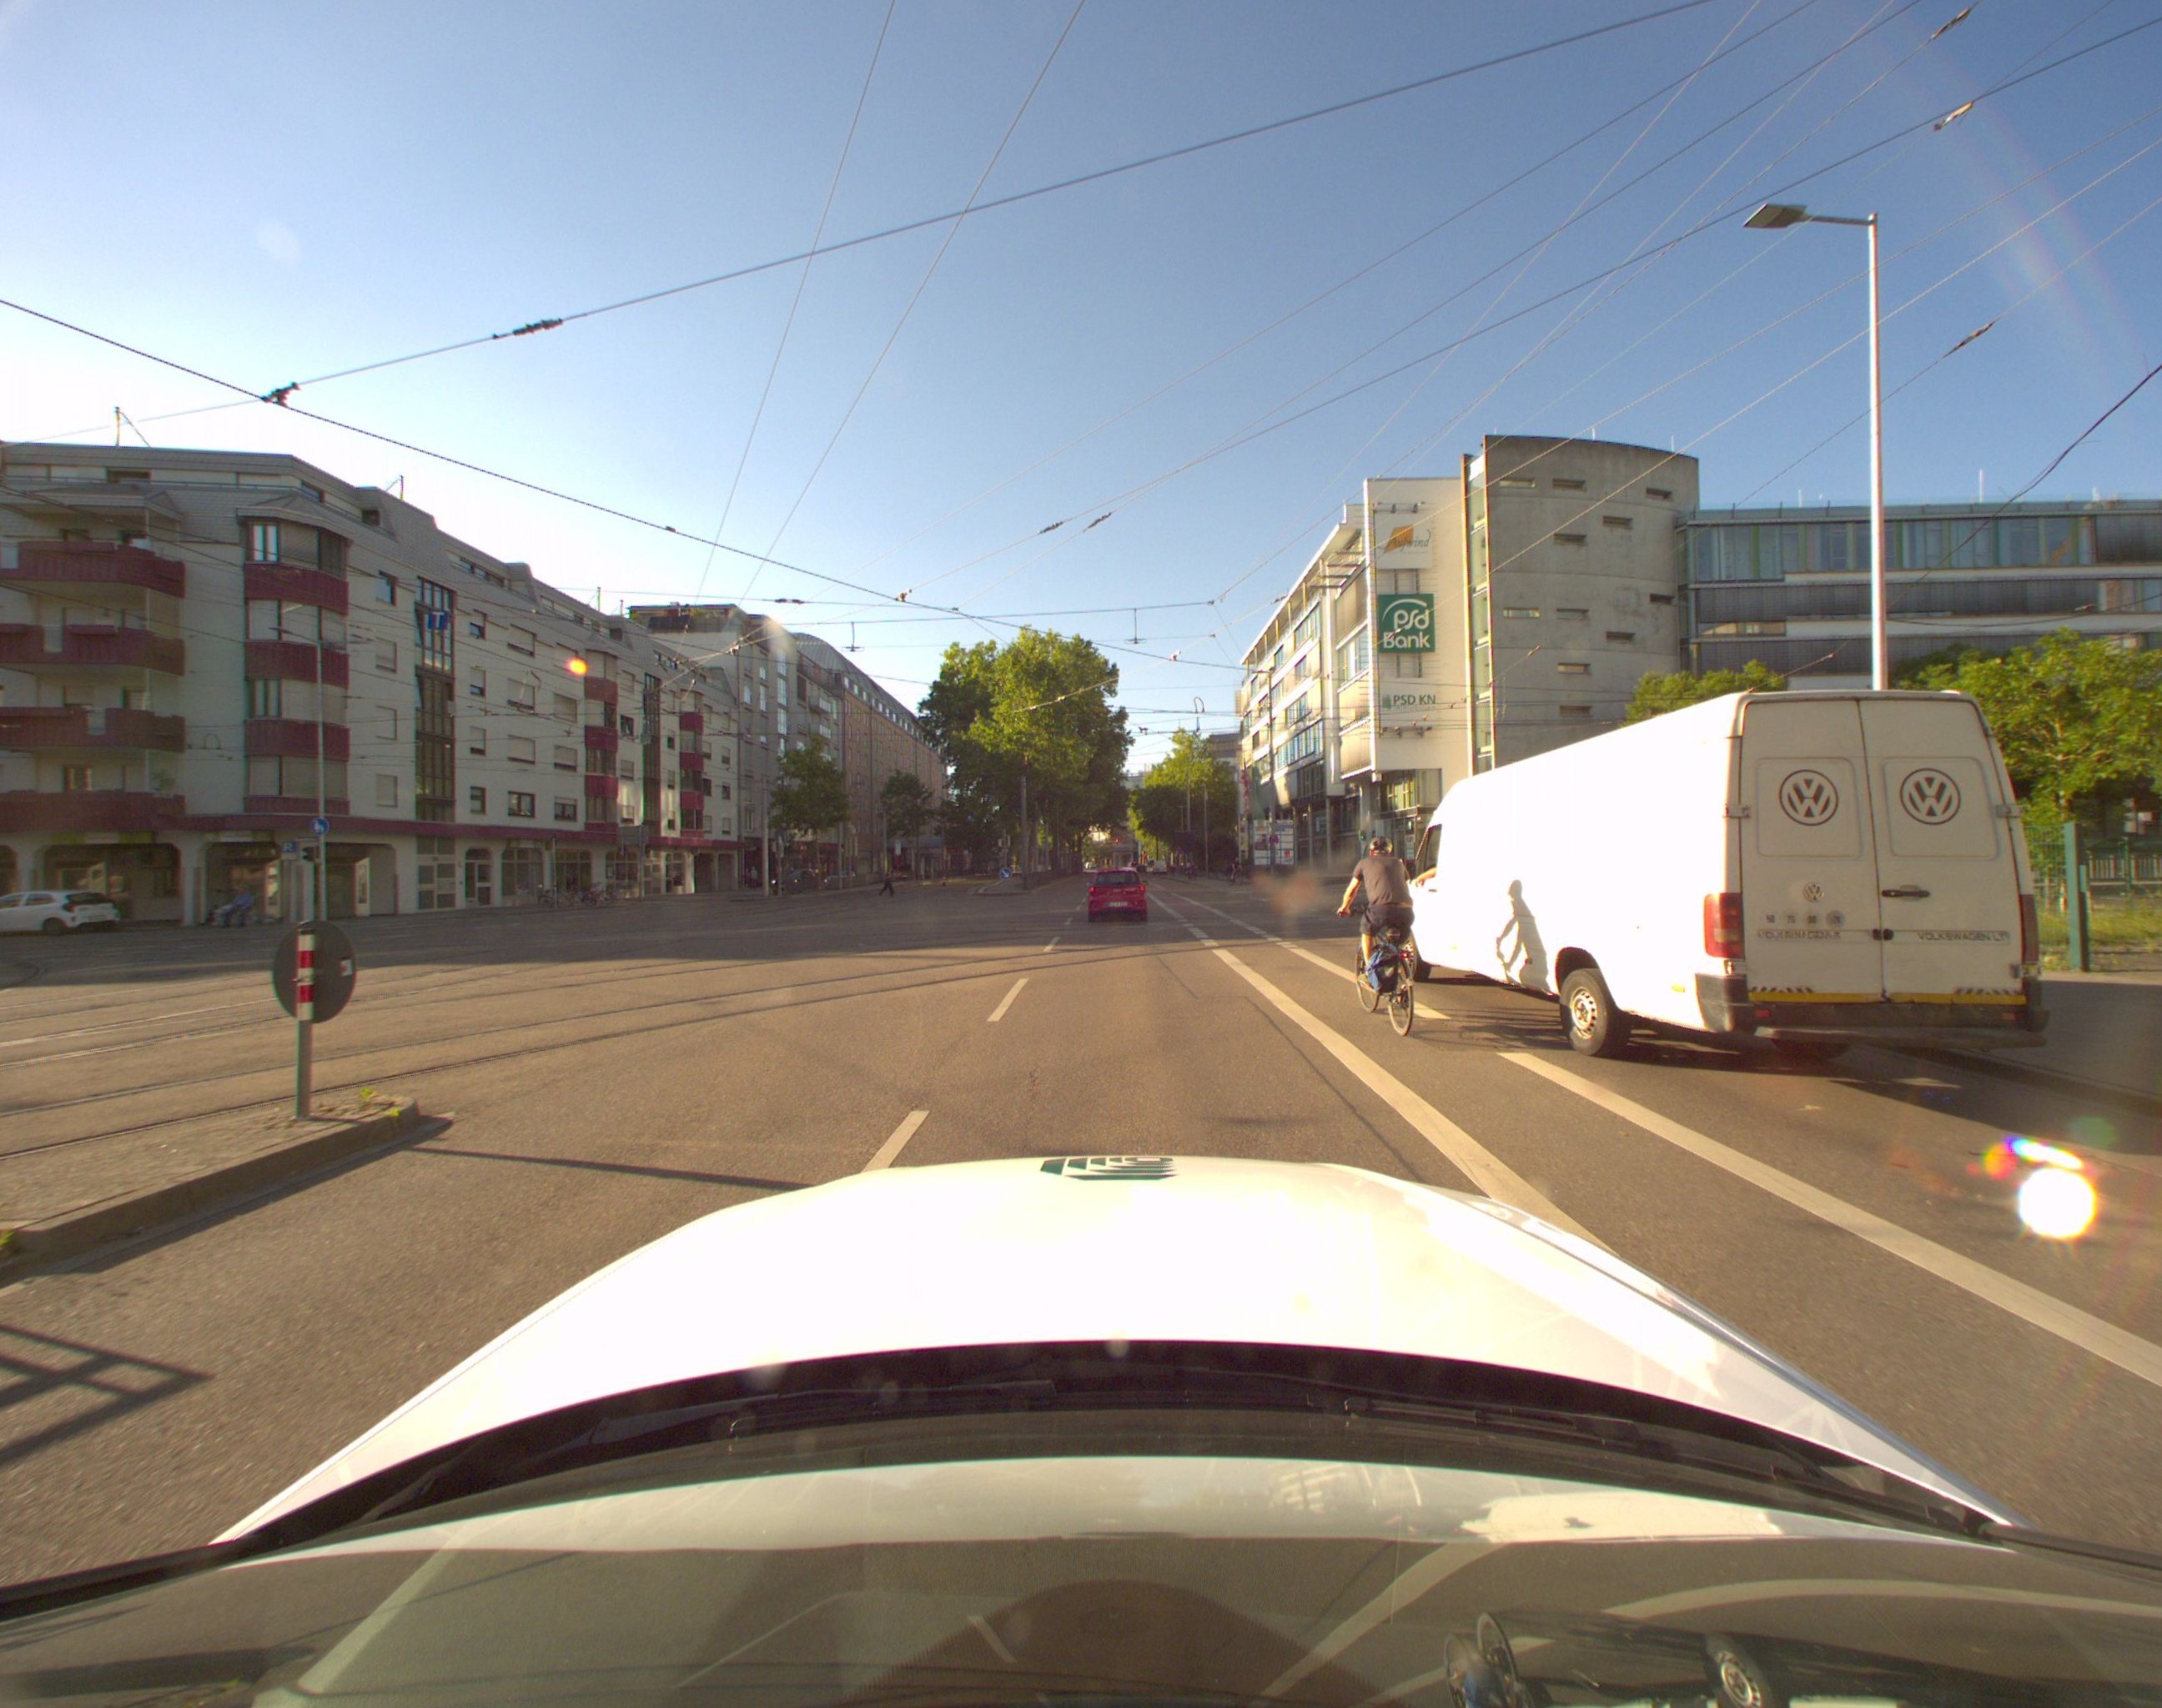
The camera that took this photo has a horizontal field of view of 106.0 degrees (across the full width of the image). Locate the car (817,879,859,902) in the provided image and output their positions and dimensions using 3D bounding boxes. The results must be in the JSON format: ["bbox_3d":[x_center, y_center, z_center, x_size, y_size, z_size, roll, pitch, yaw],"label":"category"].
[{"bbox_3d":[-19.289,2.880,64.787,1.948,1.595,4.261,-1,-1,1],"label":"car"}]

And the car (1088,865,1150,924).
[{"bbox_3d":[1.051,1.098,23.124,1.607,1.535,3.413,0,-1,2],"label":"car"}]

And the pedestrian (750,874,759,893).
[{"bbox_3d":[-26.234,2.390,65.427,0.533,1.494,0.587,-1,-1,-2],"label":"pedestrian"}]

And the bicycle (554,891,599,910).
[{"bbox_3d":[-24.294,2.217,39.222,1.835,0.854,0.554,-1,-1,3],"label":"bicycle"}]

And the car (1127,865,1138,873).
[{"bbox_3d":[10.264,2.876,161.018,1.773,1.535,3.508,0,-1,-3],"label":"car"}]

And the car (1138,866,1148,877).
[{"bbox_3d":[10.635,2.931,139.503,1.628,1.800,3.333,-1,-1,4],"label":"car"}]

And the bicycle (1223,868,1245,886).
[{"bbox_3d":[9.986,1.495,53.213,0.697,1.098,1.742,-5,0,-14],"label":"bicycle"}]

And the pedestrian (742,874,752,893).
[{"bbox_3d":[-26.801,2.386,65.321,0.533,1.494,0.587,-1,-1,-2],"label":"pedestrian"}]

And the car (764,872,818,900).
[{"bbox_3d":[-19.411,2.129,54.707,1.948,1.672,4.261,-1,-1,1],"label":"car"}]

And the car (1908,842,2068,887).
[{"bbox_3d":[35.312,0.414,31.789,3.973,1.612,2.000,-1,-1,0],"label":"car"}]

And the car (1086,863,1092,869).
[{"bbox_3d":[2.479,3.676,249.495,1.773,1.535,3.408,0,-1,-3],"label":"car"}]

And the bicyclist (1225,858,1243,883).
[{"bbox_3d":[9.986,1.063,53.134,0.723,1.603,1.083,-3,-1,-15],"label":"bicyclist"}]

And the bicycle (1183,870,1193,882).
[{"bbox_3d":[9.459,1.943,71.925,0.519,0.975,2.202,-5,0,2],"label":"bicycle"}]

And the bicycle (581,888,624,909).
[{"bbox_3d":[-24.147,2.241,41.101,1.837,0.985,0.553,-1,-1,-1],"label":"bicycle"}]

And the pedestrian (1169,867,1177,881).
[{"bbox_3d":[10.194,2.201,90.039,0.640,1.579,0.722,-5,-1,-4],"label":"pedestrian"}]

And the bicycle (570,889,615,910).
[{"bbox_3d":[-24.283,2.249,40.496,1.837,0.985,0.553,-1,-1,-1],"label":"bicycle"}]

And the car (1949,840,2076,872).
[{"bbox_3d":[48.853,0.117,42.762,4.373,1.495,1.987,-1,-1,0],"label":"car"}]

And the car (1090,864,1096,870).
[{"bbox_3d":[3.573,3.902,242.872,1.773,1.535,3.408,0,-1,-3],"label":"car"}]

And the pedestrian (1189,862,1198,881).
[{"bbox_3d":[9.947,1.541,72.025,0.644,1.680,0.652,-1,-1,2],"label":"pedestrian"}]

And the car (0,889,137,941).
[{"bbox_3d":[-34.757,2.011,27.120,3.983,1.556,1.995,-1,-1,-7],"label":"car"}]

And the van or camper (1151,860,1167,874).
[{"bbox_3d":[11.261,1.870,117.613,1.985,1.989,4.748,-1,-1,3],"label":"van or camper"}]

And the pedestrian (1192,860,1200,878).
[{"bbox_3d":[11.813,1.548,83.687,0.539,1.796,0.906,-4,-1,0],"label":"pedestrian"}]

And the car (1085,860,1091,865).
[{"bbox_3d":[2.238,2.636,255.533,1.773,1.588,3.408,0,-1,-3],"label":"car"}]

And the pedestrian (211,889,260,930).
[{"bbox_3d":[-29.995,1.973,28.896,0.856,1.384,0.834,-1,-1,-9],"label":"pedestrian"}]

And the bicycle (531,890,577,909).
[{"bbox_3d":[-24.916,2.149,38.509,1.835,0.854,0.554,-1,-1,3],"label":"bicycle"}]

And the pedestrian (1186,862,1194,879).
[{"bbox_3d":[11.148,1.663,83.649,0.562,1.702,0.906,-4,-1,-1],"label":"pedestrian"}]

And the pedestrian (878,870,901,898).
[{"bbox_3d":[-10.643,1.653,45.256,1.039,1.544,0.696,-1,-1,11],"label":"pedestrian"}]

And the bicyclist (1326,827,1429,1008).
[{"bbox_3d":[2.817,0.575,7.838,0.646,1.603,1.090,-1,-1,6],"label":"bicyclist"}]

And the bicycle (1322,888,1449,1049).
[{"bbox_3d":[2.836,1.000,7.792,0.646,1.281,1.969,-1,-1,6],"label":"bicycle"}]

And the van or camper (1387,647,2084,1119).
[{"bbox_3d":[4.964,0.197,7.885,1.960,2.716,6.310,0,-1,3],"label":"van or camper"}]
